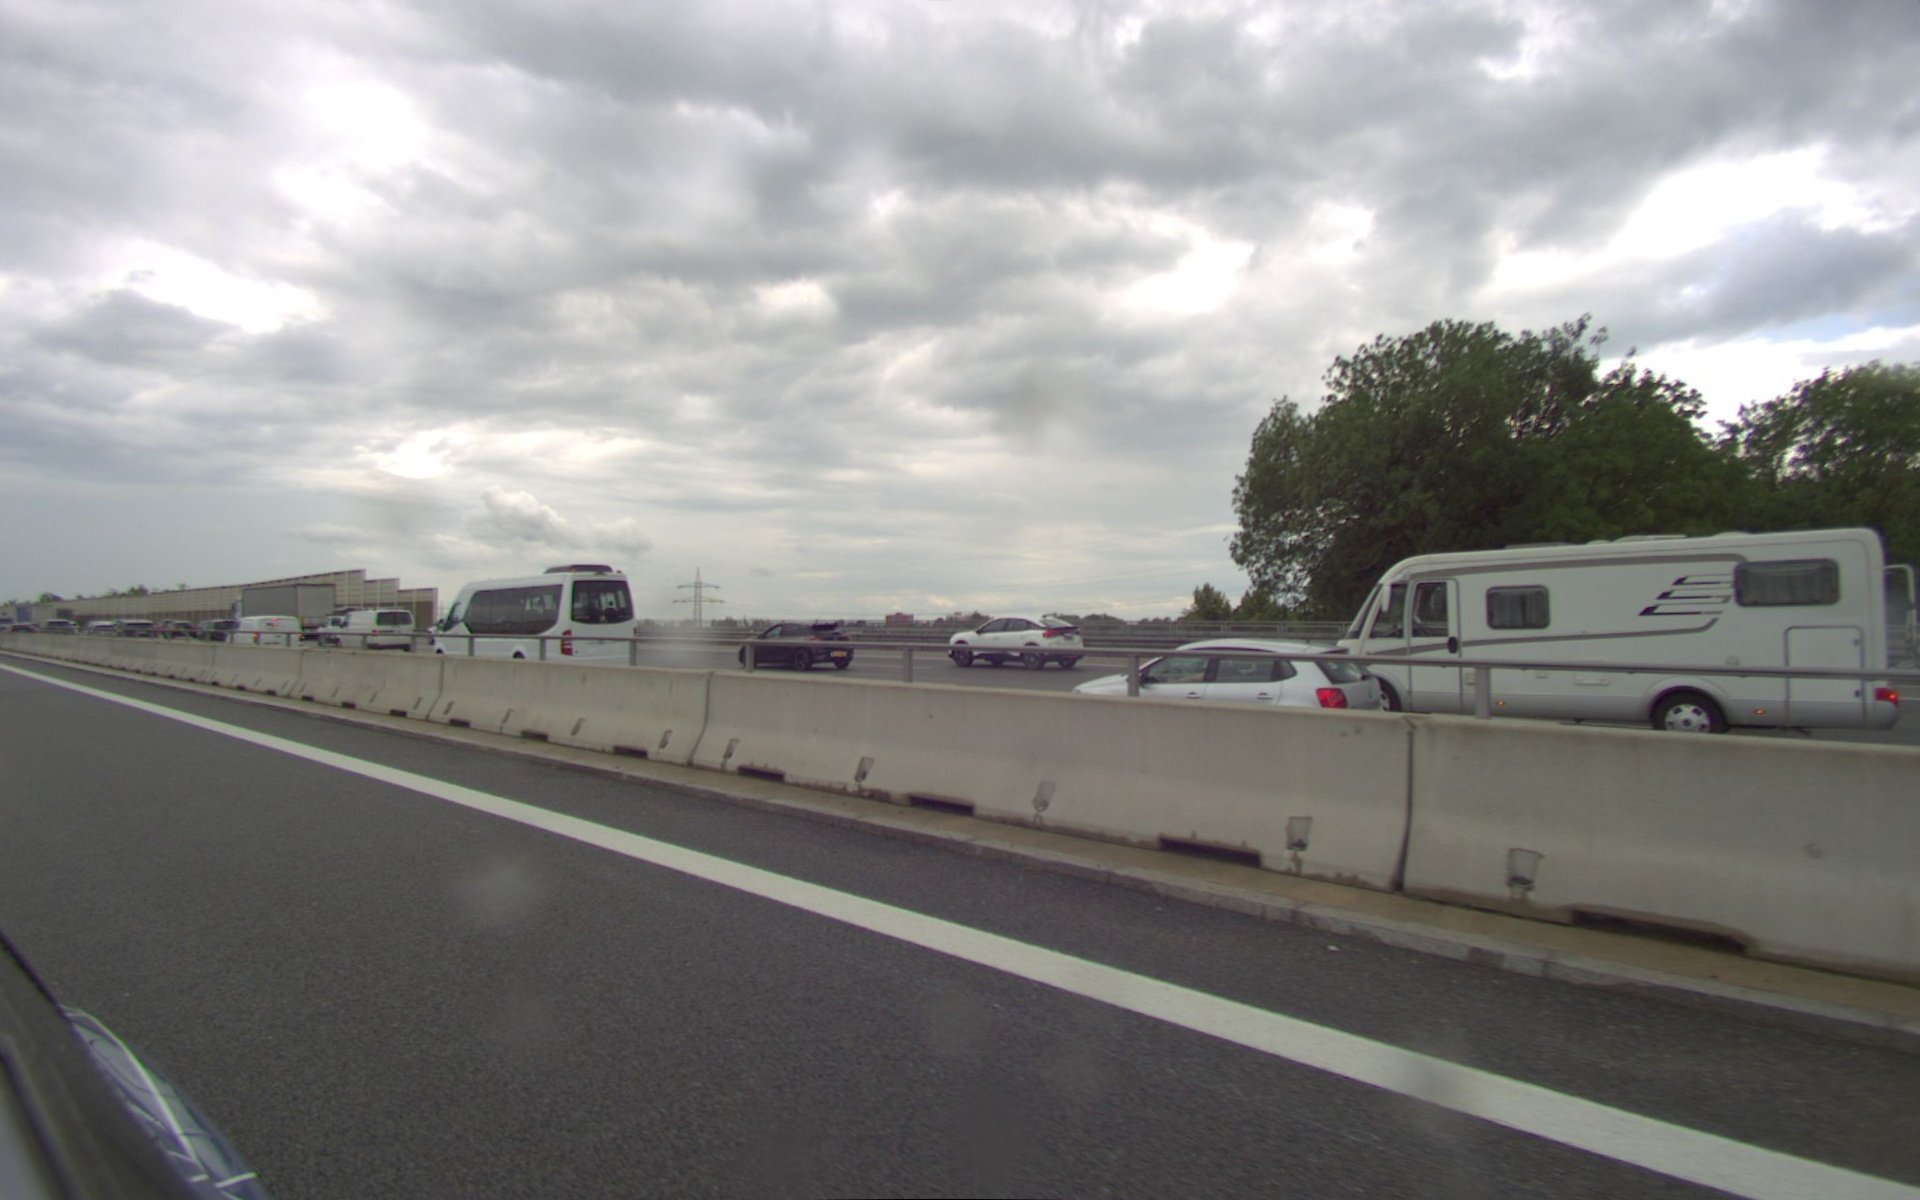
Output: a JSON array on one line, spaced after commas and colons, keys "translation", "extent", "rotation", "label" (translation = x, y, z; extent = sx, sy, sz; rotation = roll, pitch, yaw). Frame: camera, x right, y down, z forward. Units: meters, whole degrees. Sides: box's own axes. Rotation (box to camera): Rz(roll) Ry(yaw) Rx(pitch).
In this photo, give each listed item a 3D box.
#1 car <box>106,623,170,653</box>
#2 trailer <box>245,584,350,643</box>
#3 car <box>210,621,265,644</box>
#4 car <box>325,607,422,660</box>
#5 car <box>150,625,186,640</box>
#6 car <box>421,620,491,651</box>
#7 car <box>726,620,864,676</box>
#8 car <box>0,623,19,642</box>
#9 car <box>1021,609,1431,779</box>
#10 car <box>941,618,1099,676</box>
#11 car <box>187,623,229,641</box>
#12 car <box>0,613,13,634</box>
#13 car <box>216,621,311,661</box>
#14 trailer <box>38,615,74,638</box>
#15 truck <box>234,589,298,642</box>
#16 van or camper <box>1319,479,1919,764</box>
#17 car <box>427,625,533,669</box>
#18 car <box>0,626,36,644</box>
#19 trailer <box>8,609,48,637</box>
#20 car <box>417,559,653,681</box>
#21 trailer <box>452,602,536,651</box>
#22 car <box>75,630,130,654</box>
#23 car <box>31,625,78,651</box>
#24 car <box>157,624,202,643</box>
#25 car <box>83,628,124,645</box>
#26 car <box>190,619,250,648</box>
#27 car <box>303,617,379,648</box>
[{"translation": [-47.912, 2.198, 58.949], "extent": [5.378, 1.658, 2.038], "rotation": [-1, -1, 42], "label": "car"}, {"translation": [-49.584, 1.113, 75.448], "extent": [14.447, 4.062, 2.901], "rotation": [-2, -2, 42], "label": "trailer"}, {"translation": [-51.704, 2.302, 72.403], "extent": [5.468, 1.546, 2.038], "rotation": [-1, -1, 42], "label": "car"}, {"translation": [-26.244, 1.465, 45.183], "extent": [5.892, 2.253, 2.038], "rotation": [-1, -1, 42], "label": "car"}, {"translation": [-82.116, 3.343, 104.939], "extent": [5.468, 1.546, 2.038], "rotation": [-1, -1, 42], "label": "car"}, {"translation": [-28.459, 1.960, 57.085], "extent": [4.517, 1.658, 2.038], "rotation": [-1, -1, 42], "label": "car"}, {"translation": [-4.998, 1.383, 30.213], "extent": [4.520, 1.475, 1.704], "rotation": [-1, 0, 44], "label": "car"}, {"translation": [-93.761, 3.172, 98.988], "extent": [4.996, 1.894, 2.038], "rotation": [-1, -1, 42], "label": "car"}, {"translation": [3.040, 0.965, 12.231], "extent": [4.518, 1.658, 1.705], "rotation": [-1, 0, 42], "label": "car"}, {"translation": [1.650, 1.296, 29.188], "extent": [4.520, 1.475, 1.704], "rotation": [-1, 0, 44], "label": "car"}, {"translation": [-69.124, 2.911, 92.988], "extent": [5.468, 1.546, 2.038], "rotation": [-1, -1, 42], "label": "car"}, {"translation": [-122.869, 2.982, 129.169], "extent": [7.084, 2.569, 2.358], "rotation": [-1, -1, 42], "label": "car"}, {"translation": [-29.000, 1.661, 42.052], "extent": [5.468, 1.546, 2.038], "rotation": [-1, -1, 42], "label": "car"}, {"translation": [-161.739, 4.770, 180.944], "extent": [13.848, 4.062, 2.906], "rotation": [-2, -2, 40], "label": "trailer"}, {"translation": [-55.237, 1.281, 80.524], "extent": [5.724, 4.065, 2.941], "rotation": [-2, -2, 42], "label": "truck"}, {"translation": [8.873, 0.237, 13.366], "extent": [7.358, 2.973, 2.597], "rotation": [-1, 0, 42], "label": "van or camper"}, {"translation": [-18.207, 1.722, 38.324], "extent": [4.517, 1.546, 2.038], "rotation": [-1, -1, 42], "label": "car"}, {"translation": [-84.281, 3.115, 90.400], "extent": [4.996, 1.546, 2.038], "rotation": [-1, -1, 42], "label": "car"}, {"translation": [-143.631, 3.611, 155.884], "extent": [14.439, 4.062, 2.733], "rotation": [-2, -2, 40], "label": "trailer"}, {"translation": [-11.590, 0.644, 26.954], "extent": [9.162, 2.771, 2.207], "rotation": [-3, -3, 43], "label": "car"}, {"translation": [-24.798, 1.401, 53.786], "extent": [5.226, 2.503, 2.177], "rotation": [-2, -2, 42], "label": "trailer"}, {"translation": [-57.259, 2.765, 67.538], "extent": [5.468, 1.546, 2.038], "rotation": [-1, -1, 42], "label": "car"}, {"translation": [-71.418, 2.956, 79.776], "extent": [6.326, 1.894, 2.038], "rotation": [-1, -1, 42], "label": "car"}, {"translation": [-65.362, 2.756, 84.734], "extent": [5.468, 1.546, 2.038], "rotation": [-1, -1, 42], "label": "car"}, {"translation": [-72.531, 3.060, 85.677], "extent": [4.522, 1.427, 2.038], "rotation": [-1, -1, 42], "label": "car"}, {"translation": [-44.957, 2.027, 61.482], "extent": [4.517, 1.658, 2.038], "rotation": [-1, -1, 42], "label": "car"}, {"translation": [-35.346, 1.808, 57.693], "extent": [6.118, 1.658, 2.038], "rotation": [-1, -1, 42], "label": "car"}]
